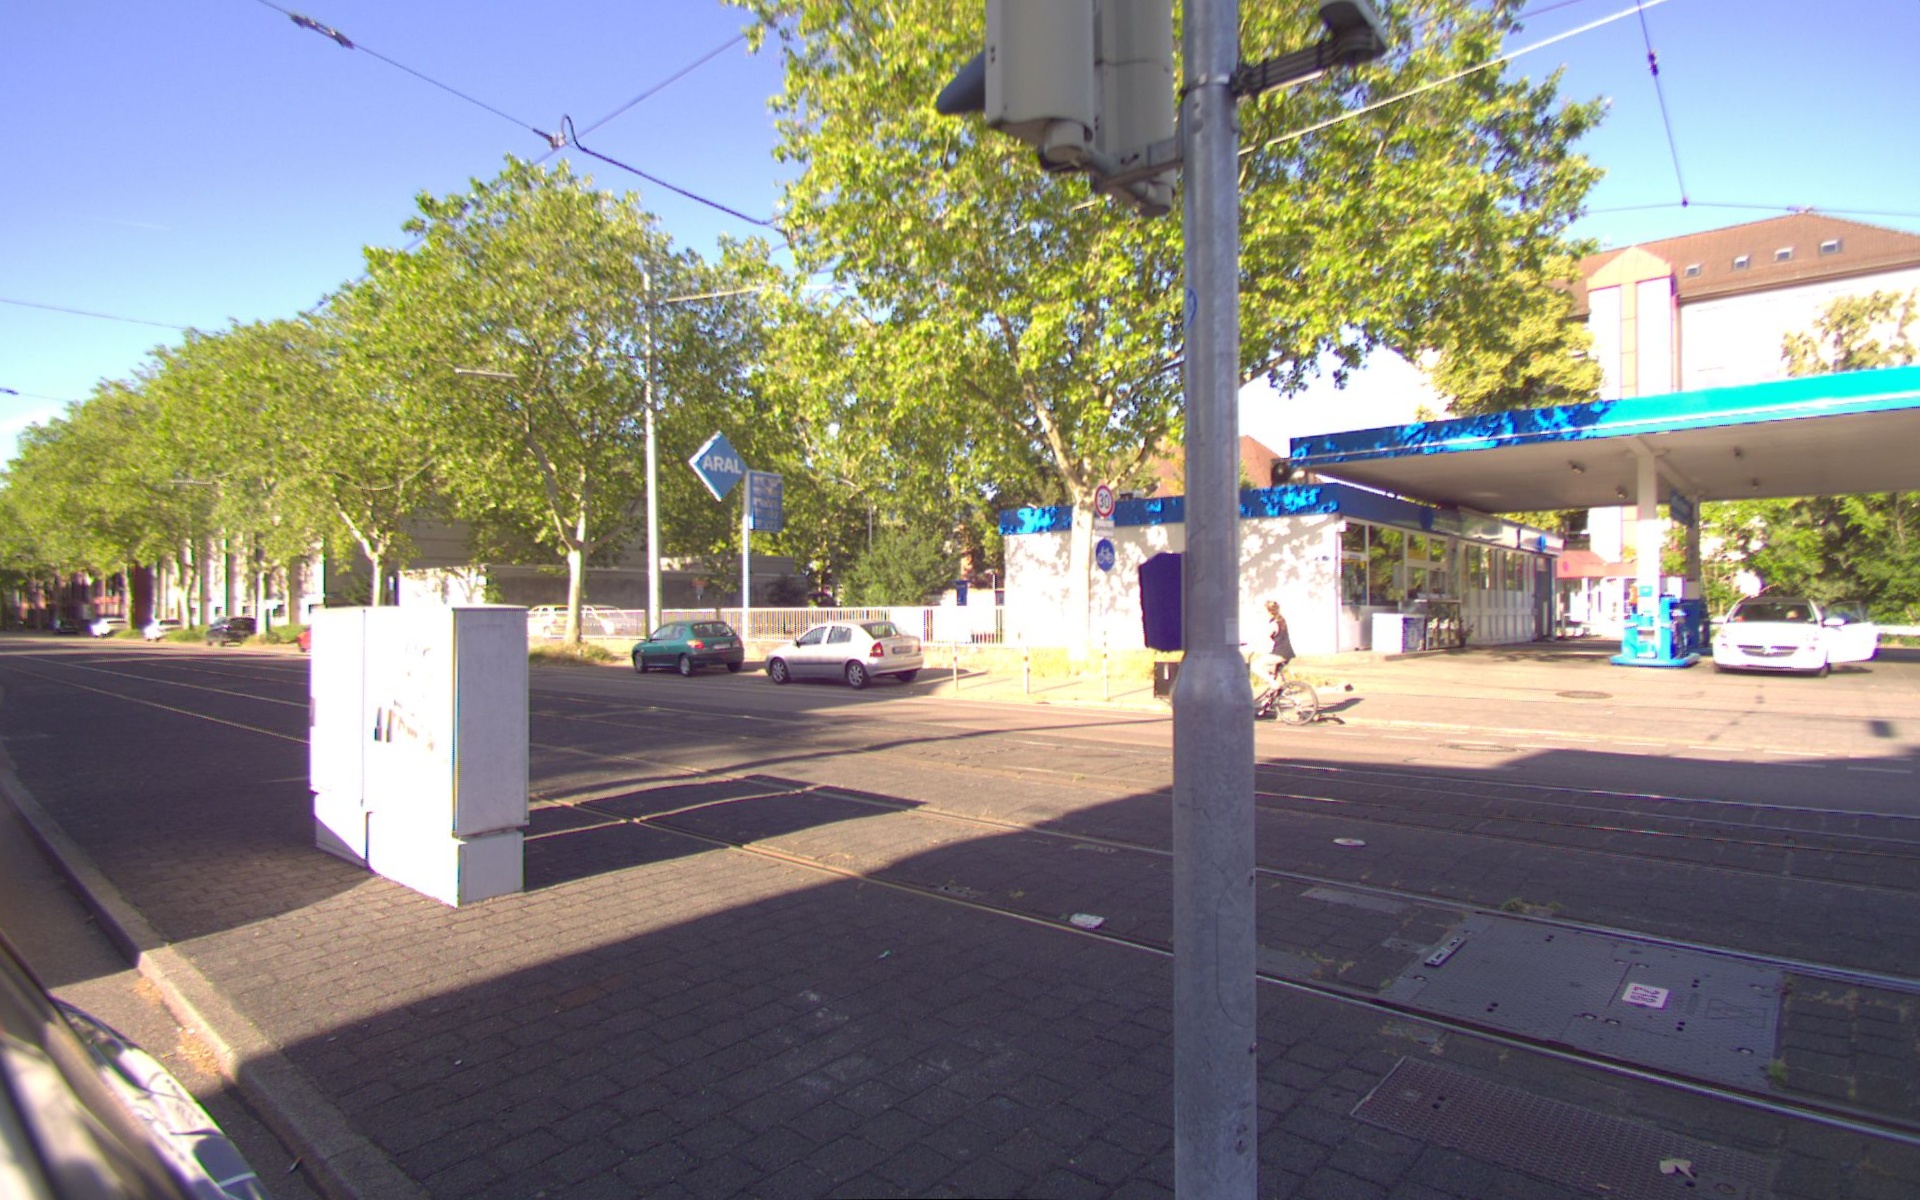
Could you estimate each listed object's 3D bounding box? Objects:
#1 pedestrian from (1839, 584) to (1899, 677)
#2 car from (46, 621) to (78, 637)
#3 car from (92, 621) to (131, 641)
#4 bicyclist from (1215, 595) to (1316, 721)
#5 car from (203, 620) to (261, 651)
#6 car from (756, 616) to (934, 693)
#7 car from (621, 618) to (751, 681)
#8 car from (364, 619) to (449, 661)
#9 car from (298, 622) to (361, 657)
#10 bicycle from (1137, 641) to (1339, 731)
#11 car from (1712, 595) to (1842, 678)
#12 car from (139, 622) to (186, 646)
[{"bbox_3d":[17.113,0.566,19.073,0.760,1.705,0.579,-1,-2,37],"label":"pedestrian"},{"bbox_3d":[-85.320,2.728,96.124,3.998,1.525,1.779,-1,-1,41],"label":"car"},{"bbox_3d":[-66.681,2.398,79.535,3.998,1.525,1.779,-1,-1,41],"label":"car"},{"bbox_3d":[4.196,0.769,13.906,1.027,1.650,0.922,-2,-1,41],"label":"bicyclist"},{"bbox_3d":[-40.753,1.950,56.594,3.998,1.674,1.779,-1,-1,41],"label":"car"},{"bbox_3d":[-2.631,1.156,22.664,3.965,1.475,1.771,-1,2,43],"label":"car"},{"bbox_3d":[-7.329,1.274,26.933,3.519,1.475,1.670,-1,2,43],"label":"car"},{"bbox_3d":[-21.941,1.548,40.054,3.652,1.541,1.802,-1,-1,41],"label":"car"},{"bbox_3d":[-28.554,1.748,45.802,3.045,1.519,1.620,-1,-1,41],"label":"car"},{"bbox_3d":[3.841,1.146,14.131,2.518,1.110,1.045,-1,-2,41],"label":"bicycle"},{"bbox_3d":[16.026,0.674,19.908,1.812,1.453,3.947,-1,-1,39],"label":"car"},{"bbox_3d":[-53.718,2.262,68.168,3.998,1.509,1.779,-1,-1,41],"label":"car"}]
